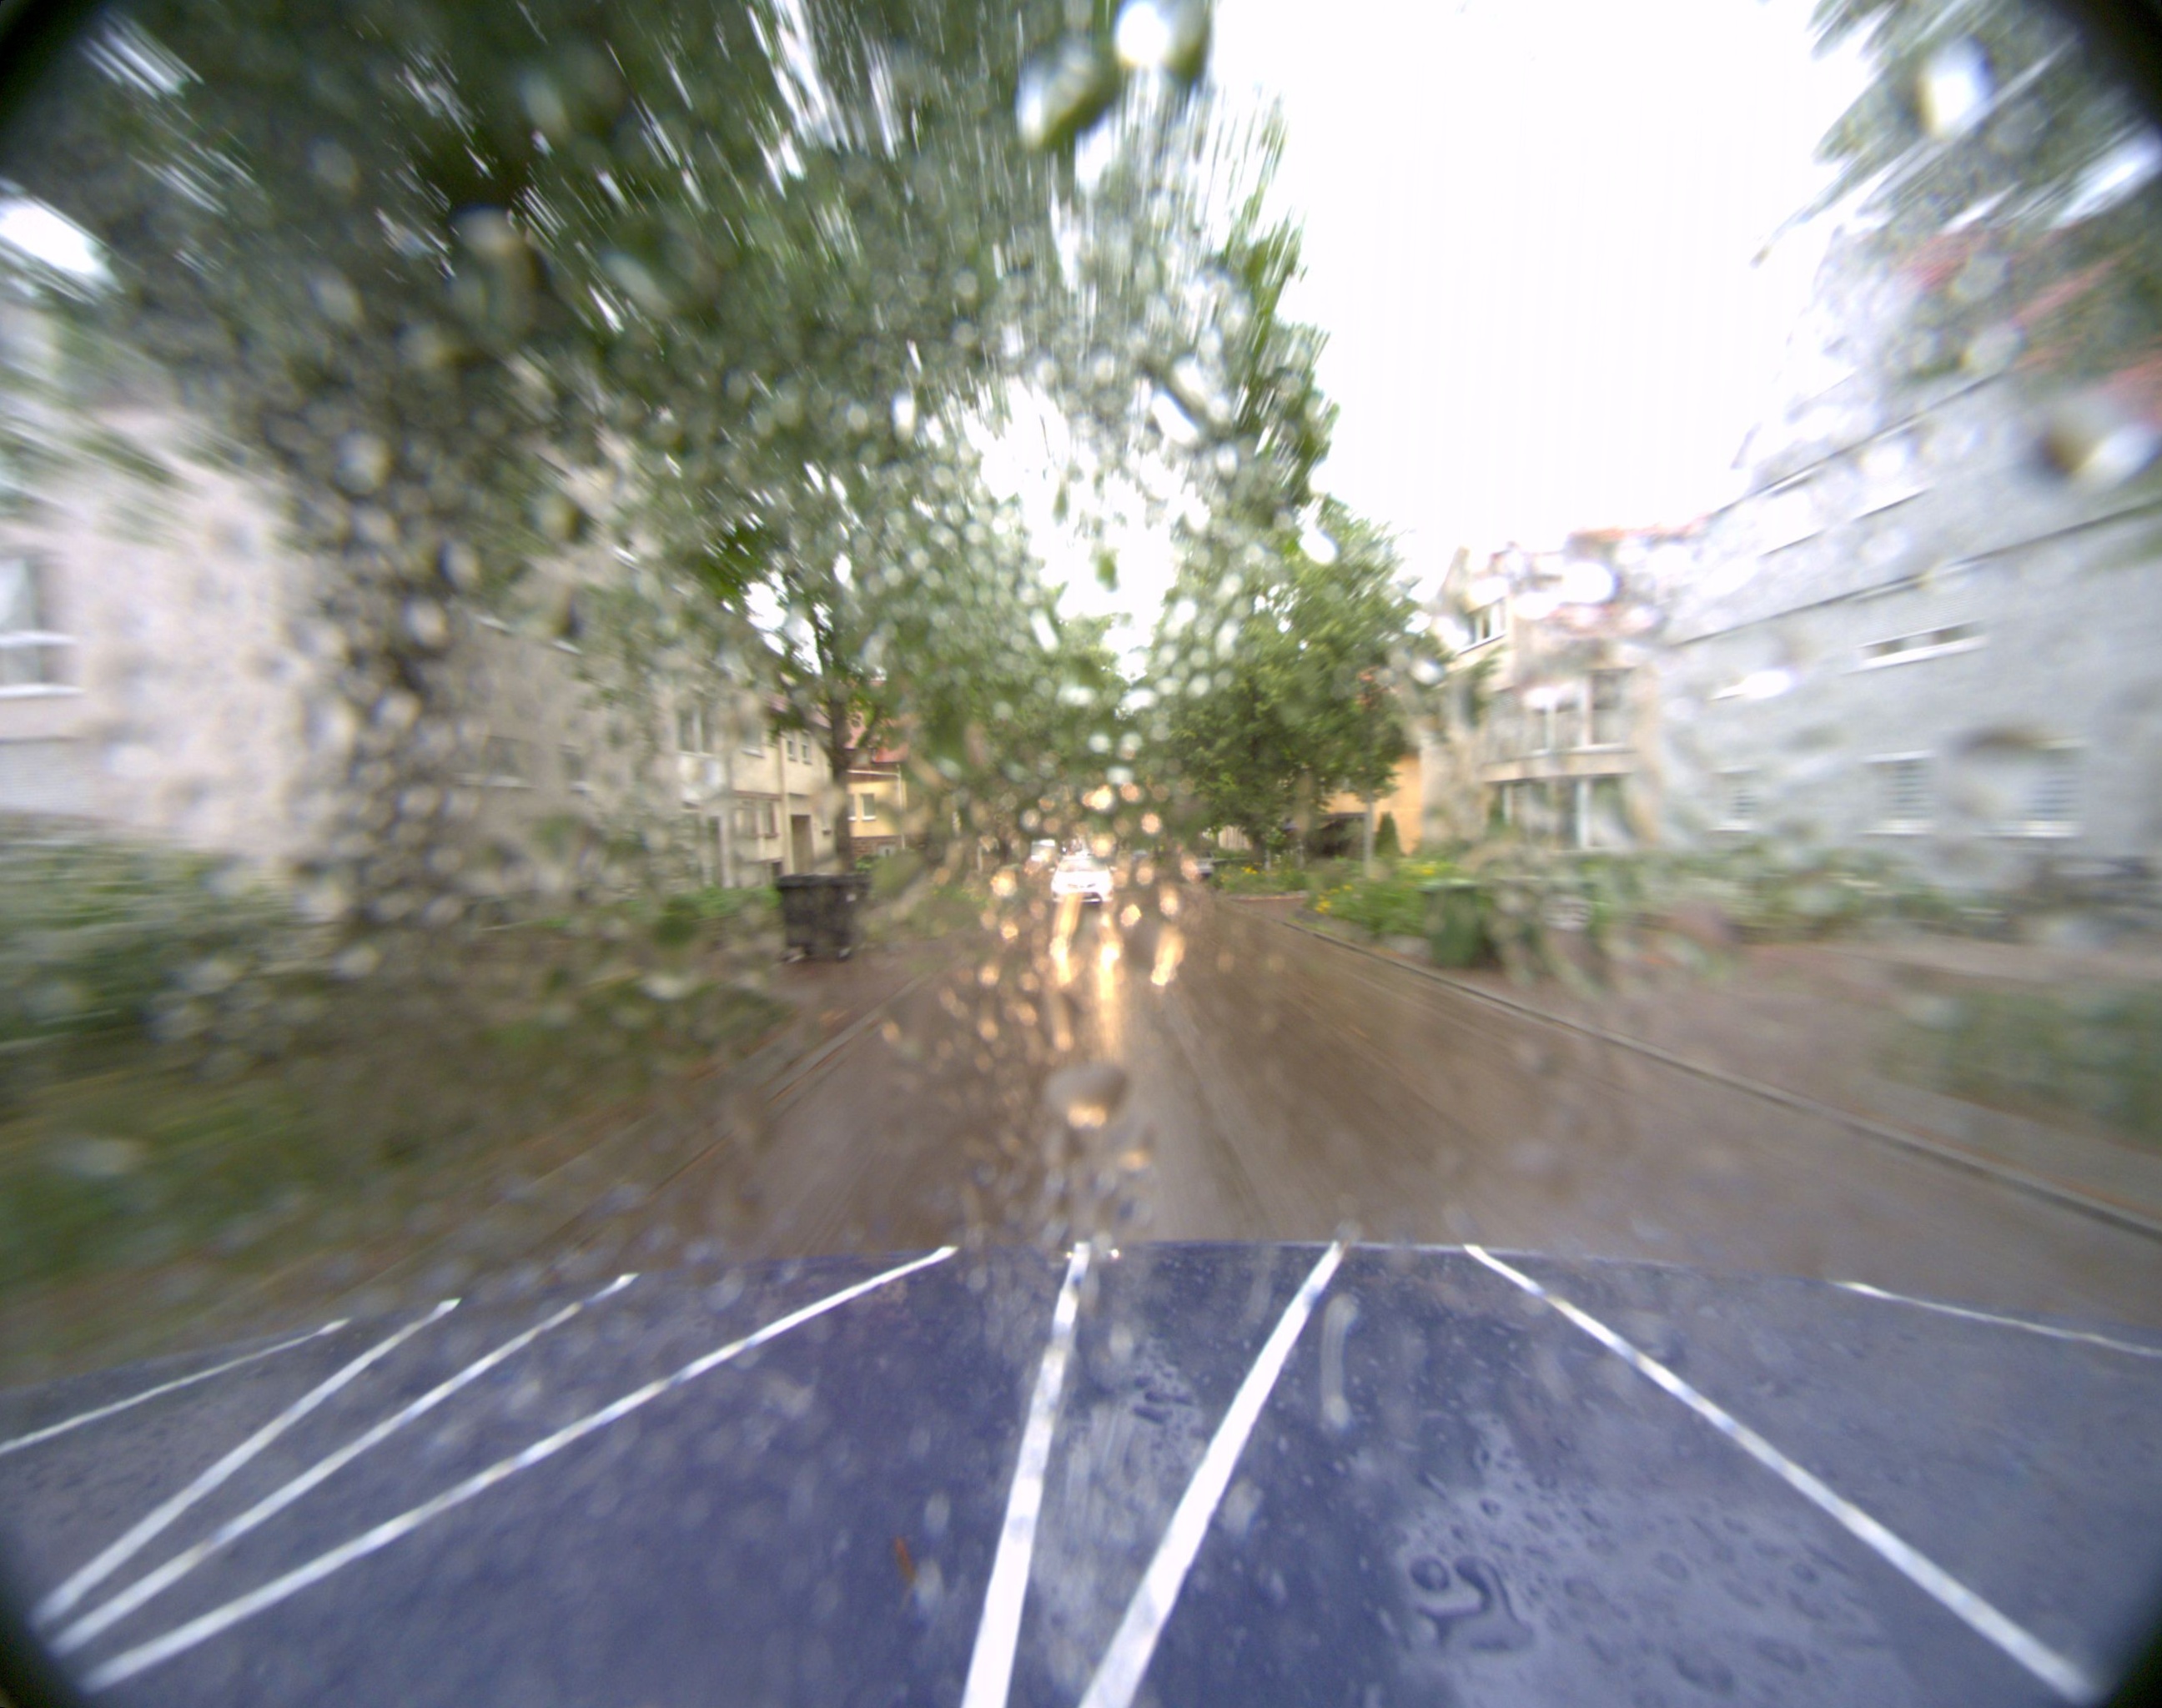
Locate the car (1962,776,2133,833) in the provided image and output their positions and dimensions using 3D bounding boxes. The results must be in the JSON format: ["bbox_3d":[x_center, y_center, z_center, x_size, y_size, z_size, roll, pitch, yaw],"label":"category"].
[{"bbox_3d":[37.278,-1.871,29.400,3.995,1.846,1.810,-3,1,5],"label":"car"}]

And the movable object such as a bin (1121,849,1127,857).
[{"bbox_3d":[5.505,-0.111,97.481,0.665,1.068,0.596,-1,2,5],"label":"movable object such as a bin"}]

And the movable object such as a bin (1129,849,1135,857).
[{"bbox_3d":[6.489,-0.125,96.544,0.665,1.068,0.596,-1,2,5],"label":"movable object such as a bin"}]

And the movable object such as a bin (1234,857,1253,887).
[{"bbox_3d":[6.001,0.656,28.074,0.596,1.056,0.545,-3,1,4],"label":"movable object such as a bin"}]

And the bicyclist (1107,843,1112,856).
[{"bbox_3d":[3.929,-0.635,104.667,0.629,1.721,0.880,-3,1,0],"label":"bicyclist"}]

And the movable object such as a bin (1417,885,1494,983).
[{"bbox_3d":[4.502,0.950,9.157,0.644,1.104,0.536,-2,0,3],"label":"movable object such as a bin"}]

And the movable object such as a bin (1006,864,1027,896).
[{"bbox_3d":[-2.301,0.926,27.317,0.690,1.076,0.540,-2,1,-3],"label":"movable object such as a bin"}]

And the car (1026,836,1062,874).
[{"bbox_3d":[-2.563,0.036,54.588,2.146,2.446,5.434,-3,1,1],"label":"car"}]

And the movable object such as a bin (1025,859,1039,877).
[{"bbox_3d":[-3.013,0.853,46.632,0.750,1.069,0.879,-3,1,1],"label":"movable object such as a bin"}]

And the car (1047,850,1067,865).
[{"bbox_3d":[-2.362,0.326,75.558,1.813,1.403,3.783,-3,0,1],"label":"car"}]

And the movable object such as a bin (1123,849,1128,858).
[{"bbox_3d":[5.671,-0.095,96.687,0.665,1.061,0.596,-1,2,5],"label":"movable object such as a bin"}]

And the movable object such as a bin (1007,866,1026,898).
[{"bbox_3d":[-2.256,0.966,26.738,0.611,1.076,0.513,-3,1,-3],"label":"movable object such as a bin"}]

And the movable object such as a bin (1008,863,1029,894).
[{"bbox_3d":[-2.298,0.900,28.035,0.690,1.076,0.540,-3,1,-3],"label":"movable object such as a bin"}]

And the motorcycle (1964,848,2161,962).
[{"bbox_3d":[11.589,0.557,8.688,1.987,1.155,0.818,-3,1,1],"label":"motorcycle"}]

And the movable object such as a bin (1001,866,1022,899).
[{"bbox_3d":[-2.321,0.951,25.482,0.645,1.076,0.540,-3,1,-3],"label":"movable object such as a bin"}]

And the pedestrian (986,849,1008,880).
[{"bbox_3d":[-4.594,0.570,41.575,0.955,1.642,0.794,-1,2,14],"label":"pedestrian"}]

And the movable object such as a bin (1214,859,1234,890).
[{"bbox_3d":[5.273,0.748,28.023,0.596,1.056,0.545,-5,0,4],"label":"movable object such as a bin"}]

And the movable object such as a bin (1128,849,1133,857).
[{"bbox_3d":[6.328,-0.139,97.333,0.665,1.068,0.596,-1,2,5],"label":"movable object such as a bin"}]

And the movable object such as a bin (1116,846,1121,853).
[{"bbox_3d":[5.790,-0.663,117.182,0.618,1.053,0.568,-5,1,-1],"label":"movable object such as a bin"}]

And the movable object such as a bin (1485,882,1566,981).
[{"bbox_3d":[5.220,0.896,8.949,0.612,1.104,0.564,-2,0,3],"label":"movable object such as a bin"}]

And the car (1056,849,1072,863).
[{"bbox_3d":[-1.881,0.201,84.598,1.685,1.391,3.794,-2,1,0],"label":"car"}]

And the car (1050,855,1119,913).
[{"bbox_3d":[0.187,0.822,22.651,1.828,1.451,3.875,-3,0,3],"label":"car"}]

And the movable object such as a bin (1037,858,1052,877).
[{"bbox_3d":[-2.221,0.818,46.467,0.799,1.069,0.879,-3,1,1],"label":"movable object such as a bin"}]

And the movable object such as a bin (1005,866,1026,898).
[{"bbox_3d":[-2.258,0.958,26.162,0.632,1.076,0.471,-3,1,-3],"label":"movable object such as a bin"}]

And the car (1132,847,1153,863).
[{"bbox_3d":[5.799,0.038,72.327,1.754,1.388,3.795,-3,1,2],"label":"car"}]

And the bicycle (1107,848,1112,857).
[{"bbox_3d":[3.941,-0.255,104.776,0.629,1.202,1.981,-3,1,1],"label":"bicycle"}]

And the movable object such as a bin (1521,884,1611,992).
[{"bbox_3d":[5.294,0.899,8.322,0.612,1.104,0.564,-2,0,3],"label":"movable object such as a bin"}]

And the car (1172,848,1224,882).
[{"bbox_3d":[5.375,0.472,35.399,1.776,1.381,4.545,-4,0,2],"label":"car"}]

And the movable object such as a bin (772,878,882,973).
[{"bbox_3d":[-3.846,1.056,11.622,1.227,1.308,1.134,-2,1,3],"label":"movable object such as a bin"}]

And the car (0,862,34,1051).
[{"bbox_3d":[-13.093,1.274,6.778,4.472,1.889,1.999,-6,1,0],"label":"car"}]
